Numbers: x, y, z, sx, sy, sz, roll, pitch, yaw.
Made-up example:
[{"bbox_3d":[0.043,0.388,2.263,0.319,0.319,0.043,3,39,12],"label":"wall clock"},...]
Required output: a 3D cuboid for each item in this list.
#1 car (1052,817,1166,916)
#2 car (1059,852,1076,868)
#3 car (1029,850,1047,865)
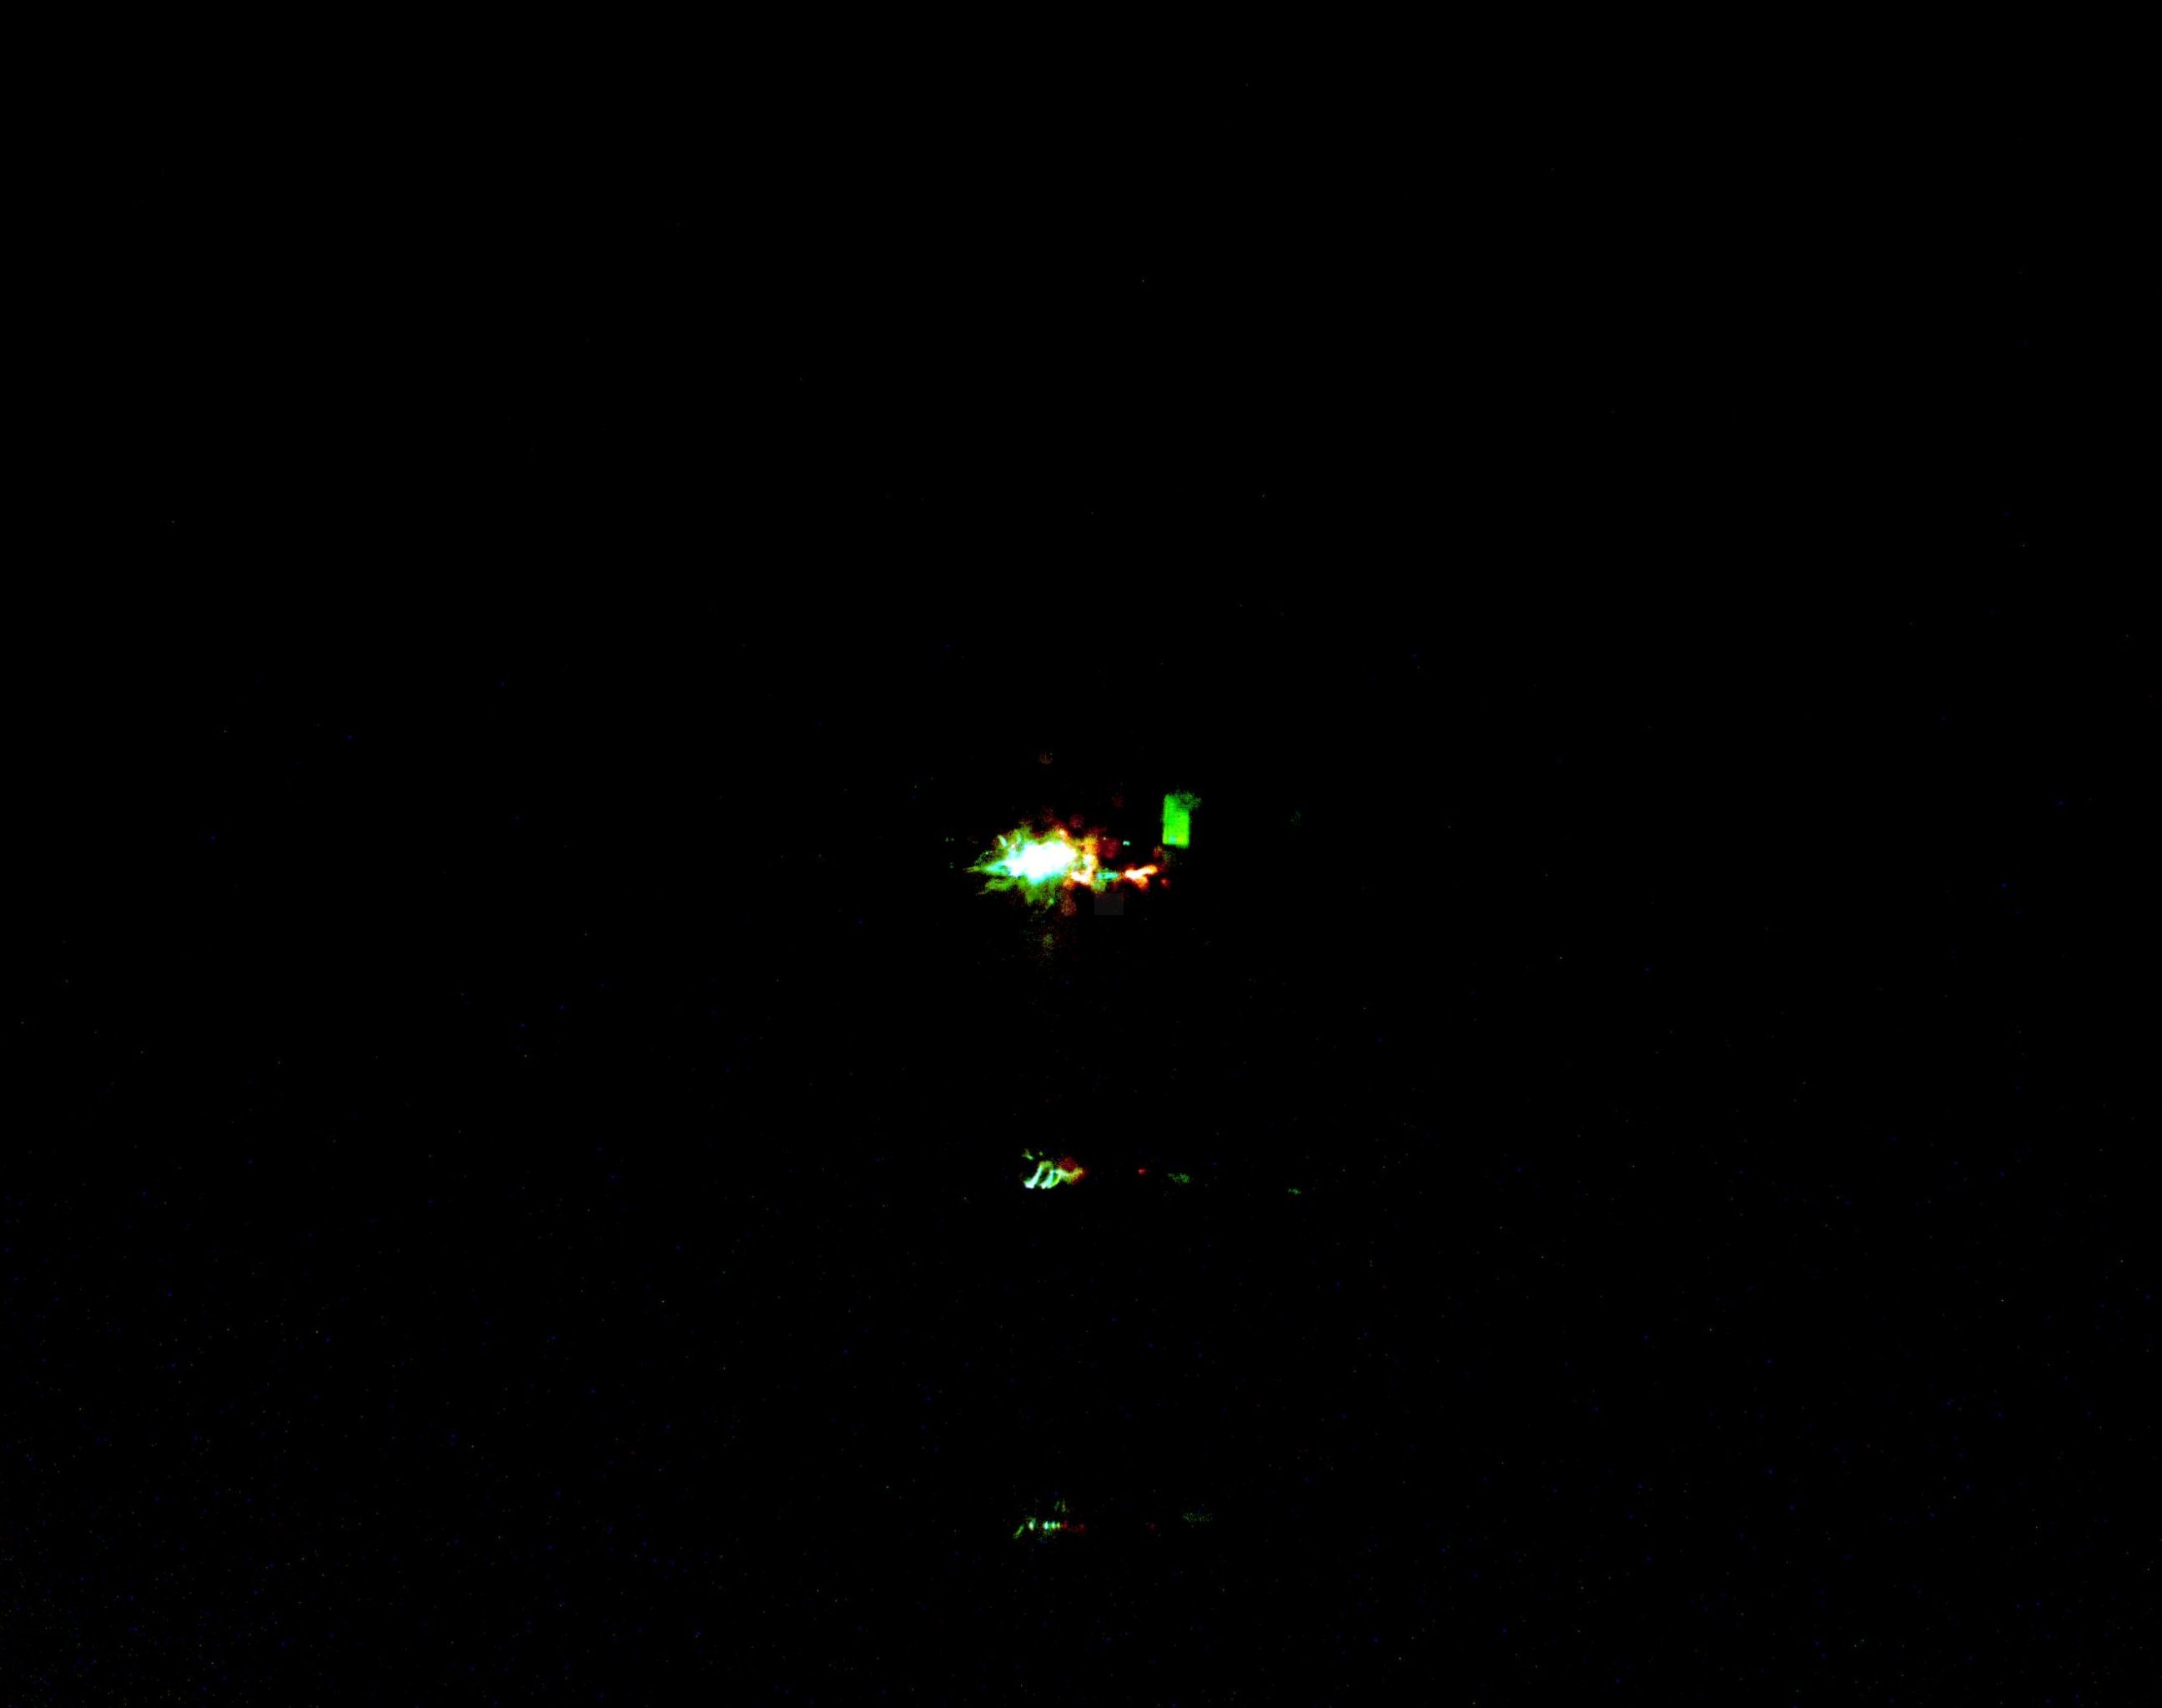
[{"bbox_3d":[0.678,0.302,22.739,2.707,2.307,6.099,-1,0,0],"label":"car"},{"bbox_3d":[-1.633,0.708,97.600,1.987,1.915,3.999,0,0,-1],"label":"car"},{"bbox_3d":[-4.658,0.367,89.323,1.857,1.544,4.227,0,1,-1],"label":"car"}]
